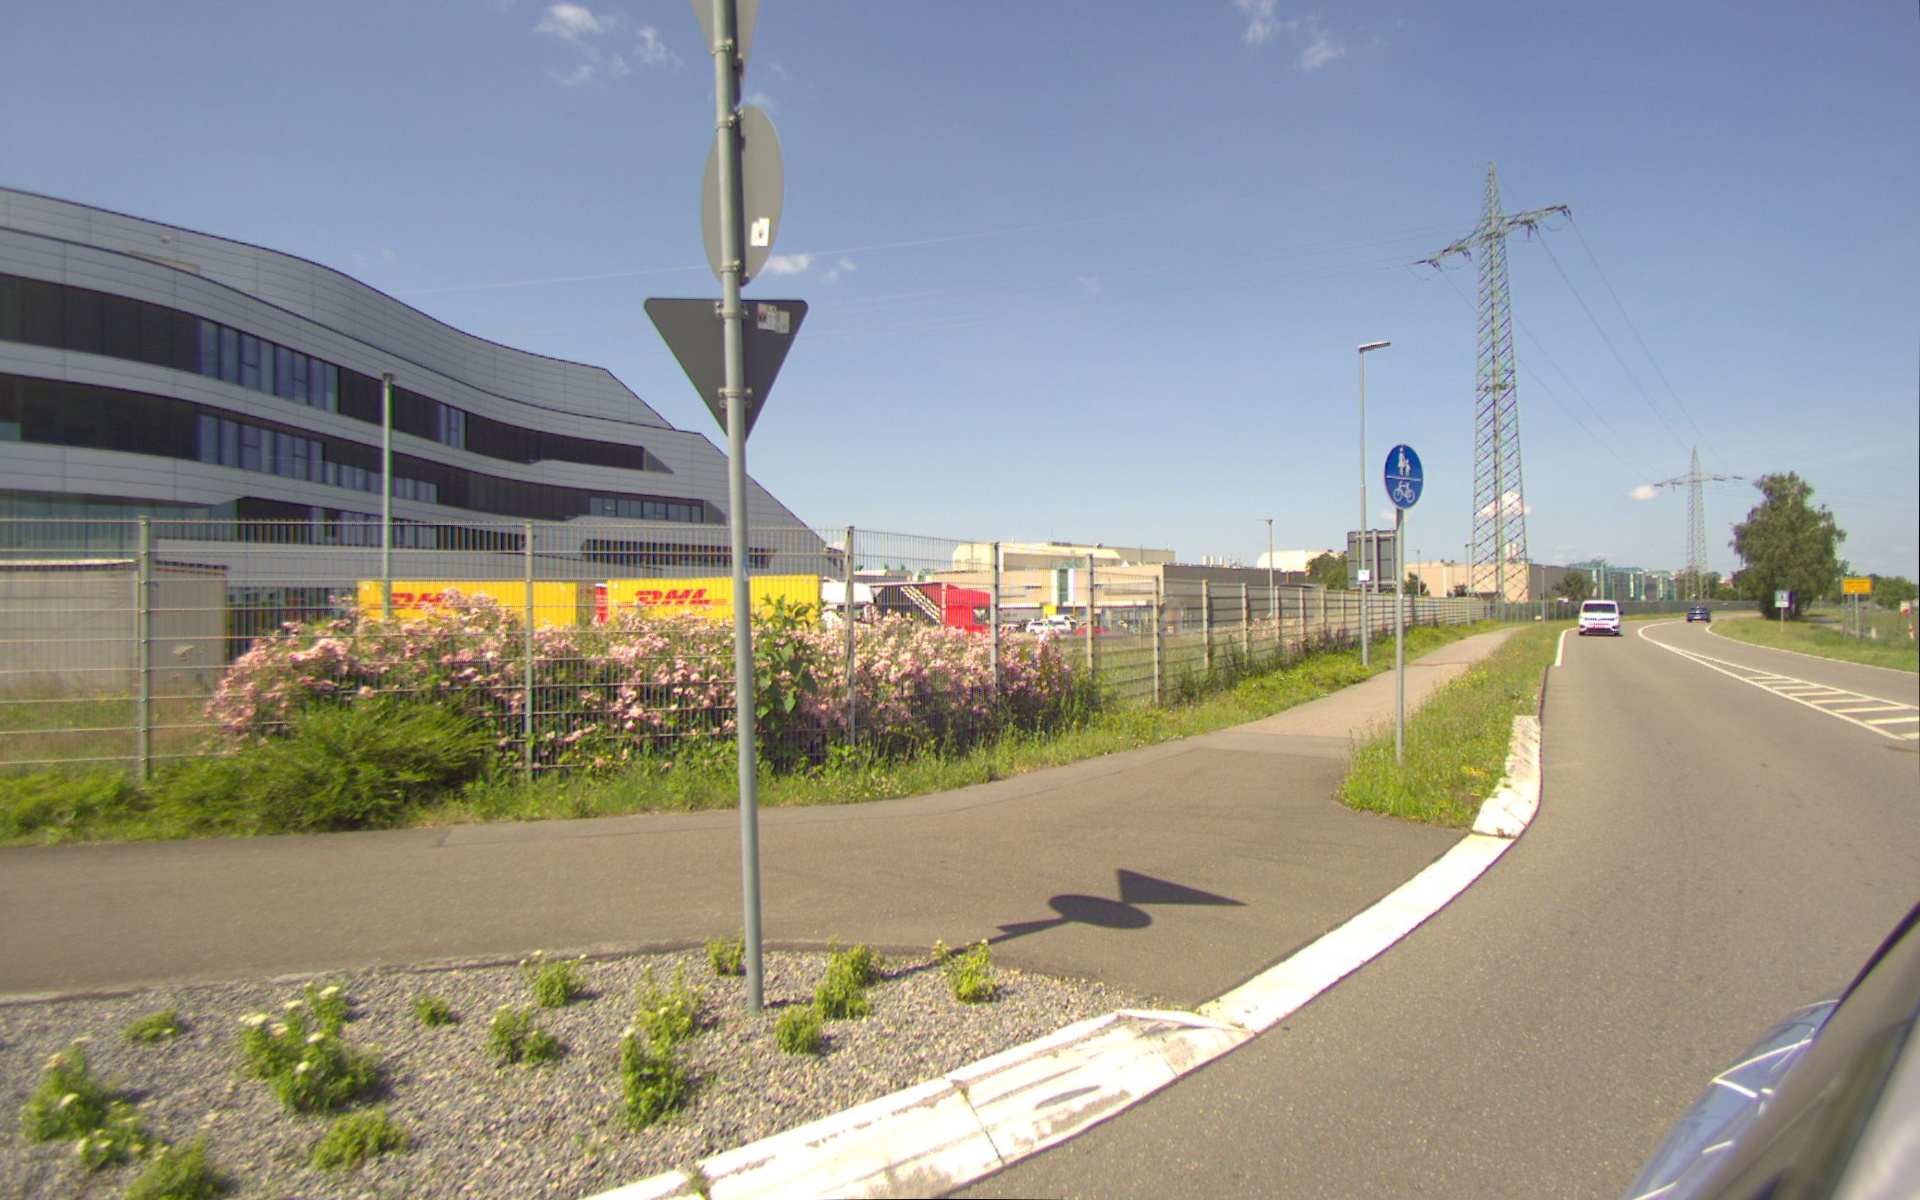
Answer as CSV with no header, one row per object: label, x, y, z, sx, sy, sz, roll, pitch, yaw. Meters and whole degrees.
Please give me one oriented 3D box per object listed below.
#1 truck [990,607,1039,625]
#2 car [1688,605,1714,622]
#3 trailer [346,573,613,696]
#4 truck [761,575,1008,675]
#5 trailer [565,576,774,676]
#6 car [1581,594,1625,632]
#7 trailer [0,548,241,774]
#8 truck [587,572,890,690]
truck,10.229,2.944,187.681,1.992,3.178,11.669,-3,-2,42
car,69.914,1.220,95.488,1.701,1.500,3.940,0,1,41
trailer,-17.647,1.194,37.640,8.543,4.350,2.904,0,0,-4
truck,-3.315,1.061,45.609,10.764,4.310,3.029,0,0,0
trailer,-12.940,1.102,45.593,8.550,4.350,3.029,0,0,0
car,33.334,0.622,52.399,1.825,1.829,4.771,0,0,34
trailer,-23.164,1.212,21.474,13.793,4.494,2.767,0,0,-1
truck,-8.090,1.109,37.915,10.765,4.225,2.822,0,0,0
